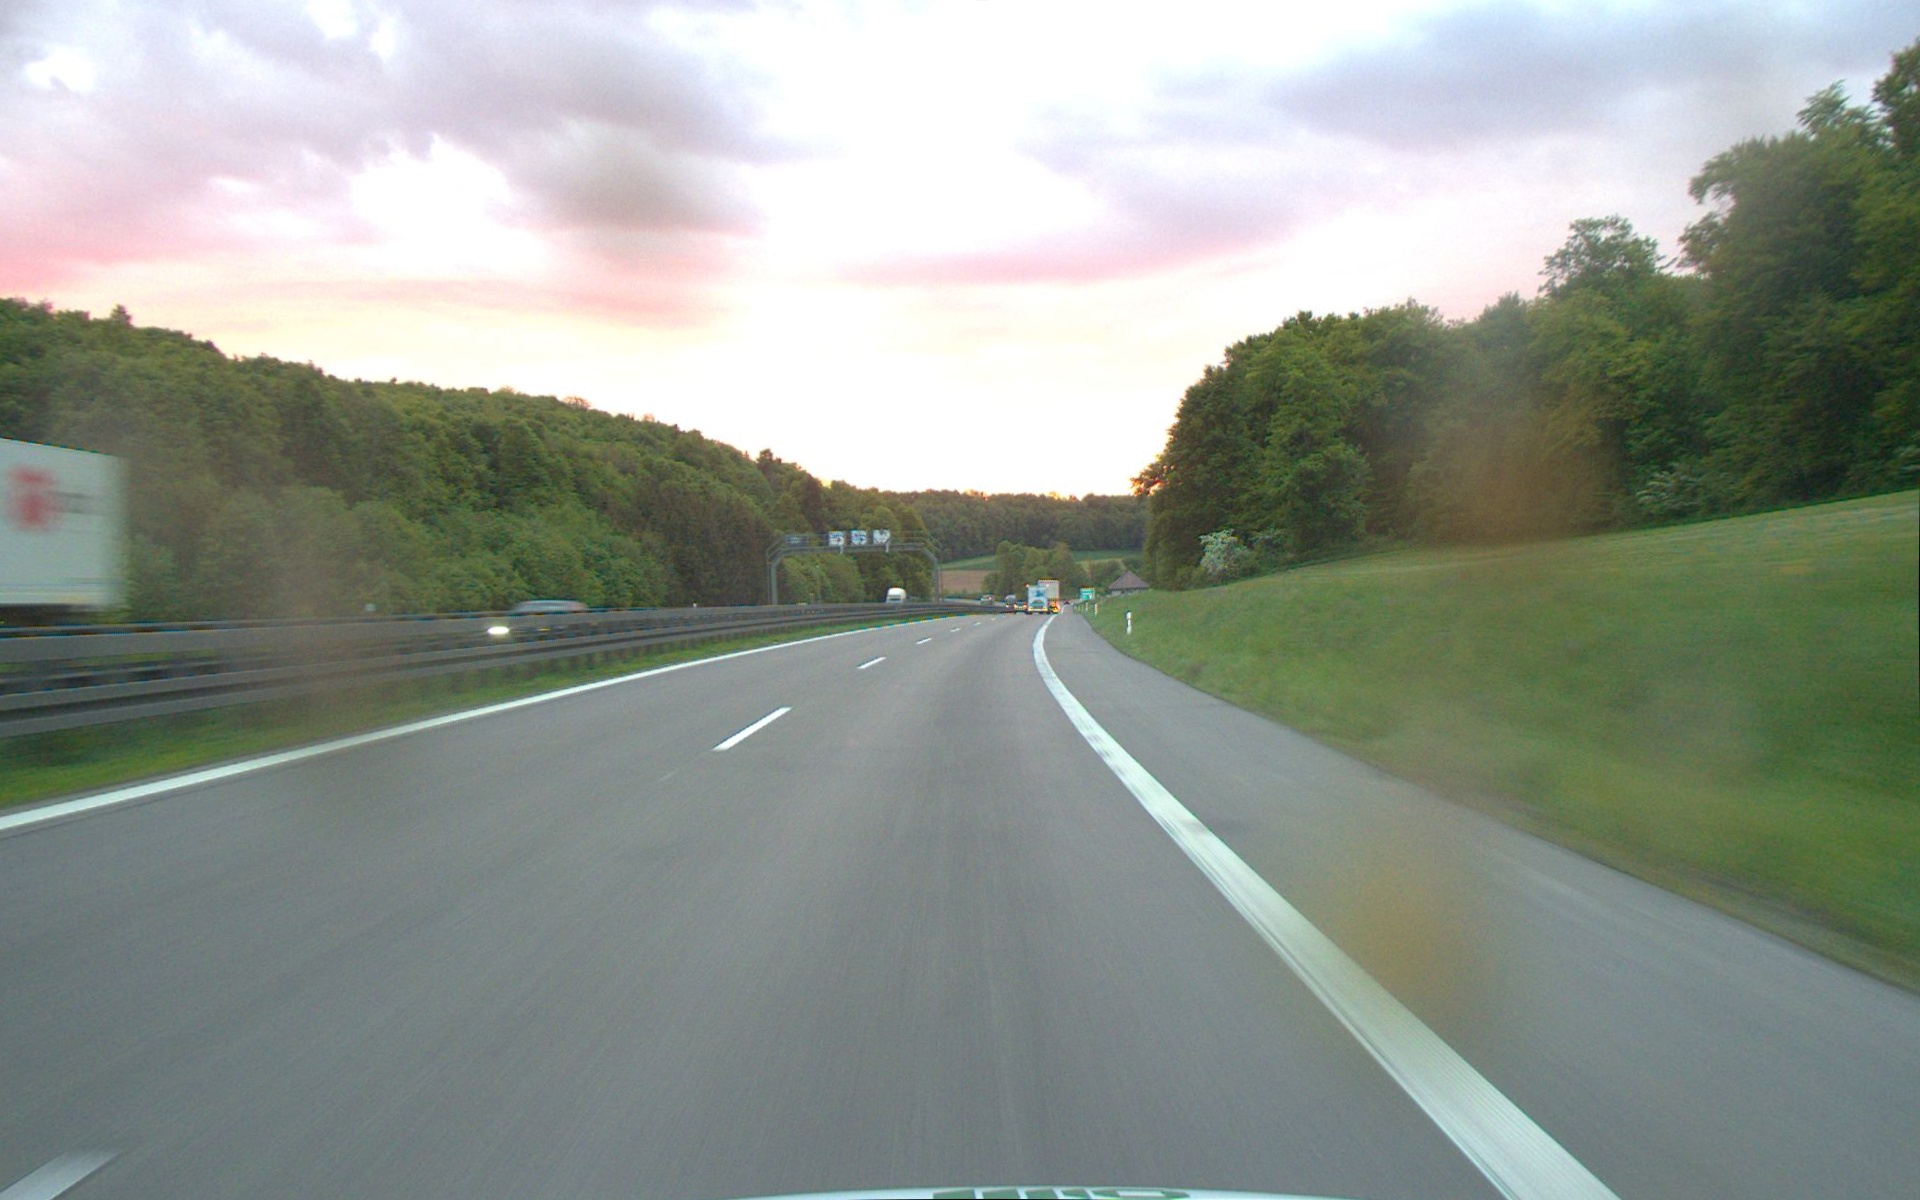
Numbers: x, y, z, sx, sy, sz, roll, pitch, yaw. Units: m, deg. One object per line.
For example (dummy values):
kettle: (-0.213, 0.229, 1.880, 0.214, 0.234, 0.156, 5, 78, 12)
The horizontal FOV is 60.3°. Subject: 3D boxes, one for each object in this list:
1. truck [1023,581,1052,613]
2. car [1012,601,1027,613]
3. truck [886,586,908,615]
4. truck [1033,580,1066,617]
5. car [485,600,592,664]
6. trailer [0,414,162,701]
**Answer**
truck: (7.270, -0.267, 154.463, 2.227, 2.711, 5.241, -2, 2, 6)
car: (8.135, 1.000, 226.104, 1.952, 1.543, 4.002, -1, 1, 3)
truck: (-6.800, 0.024, 178.428, 1.952, 3.121, 5.596, 0, 0, 2)
truck: (11.172, -0.232, 206.875, 3.875, 4.361, 14.330, -1, 1, 3)
car: (-11.365, 0.831, 44.882, 1.620, 1.561, 4.467, -2, 0, 2)
trailer: (-16.109, -0.652, 25.611, 2.773, 4.392, 9.295, 0, 0, 2)
